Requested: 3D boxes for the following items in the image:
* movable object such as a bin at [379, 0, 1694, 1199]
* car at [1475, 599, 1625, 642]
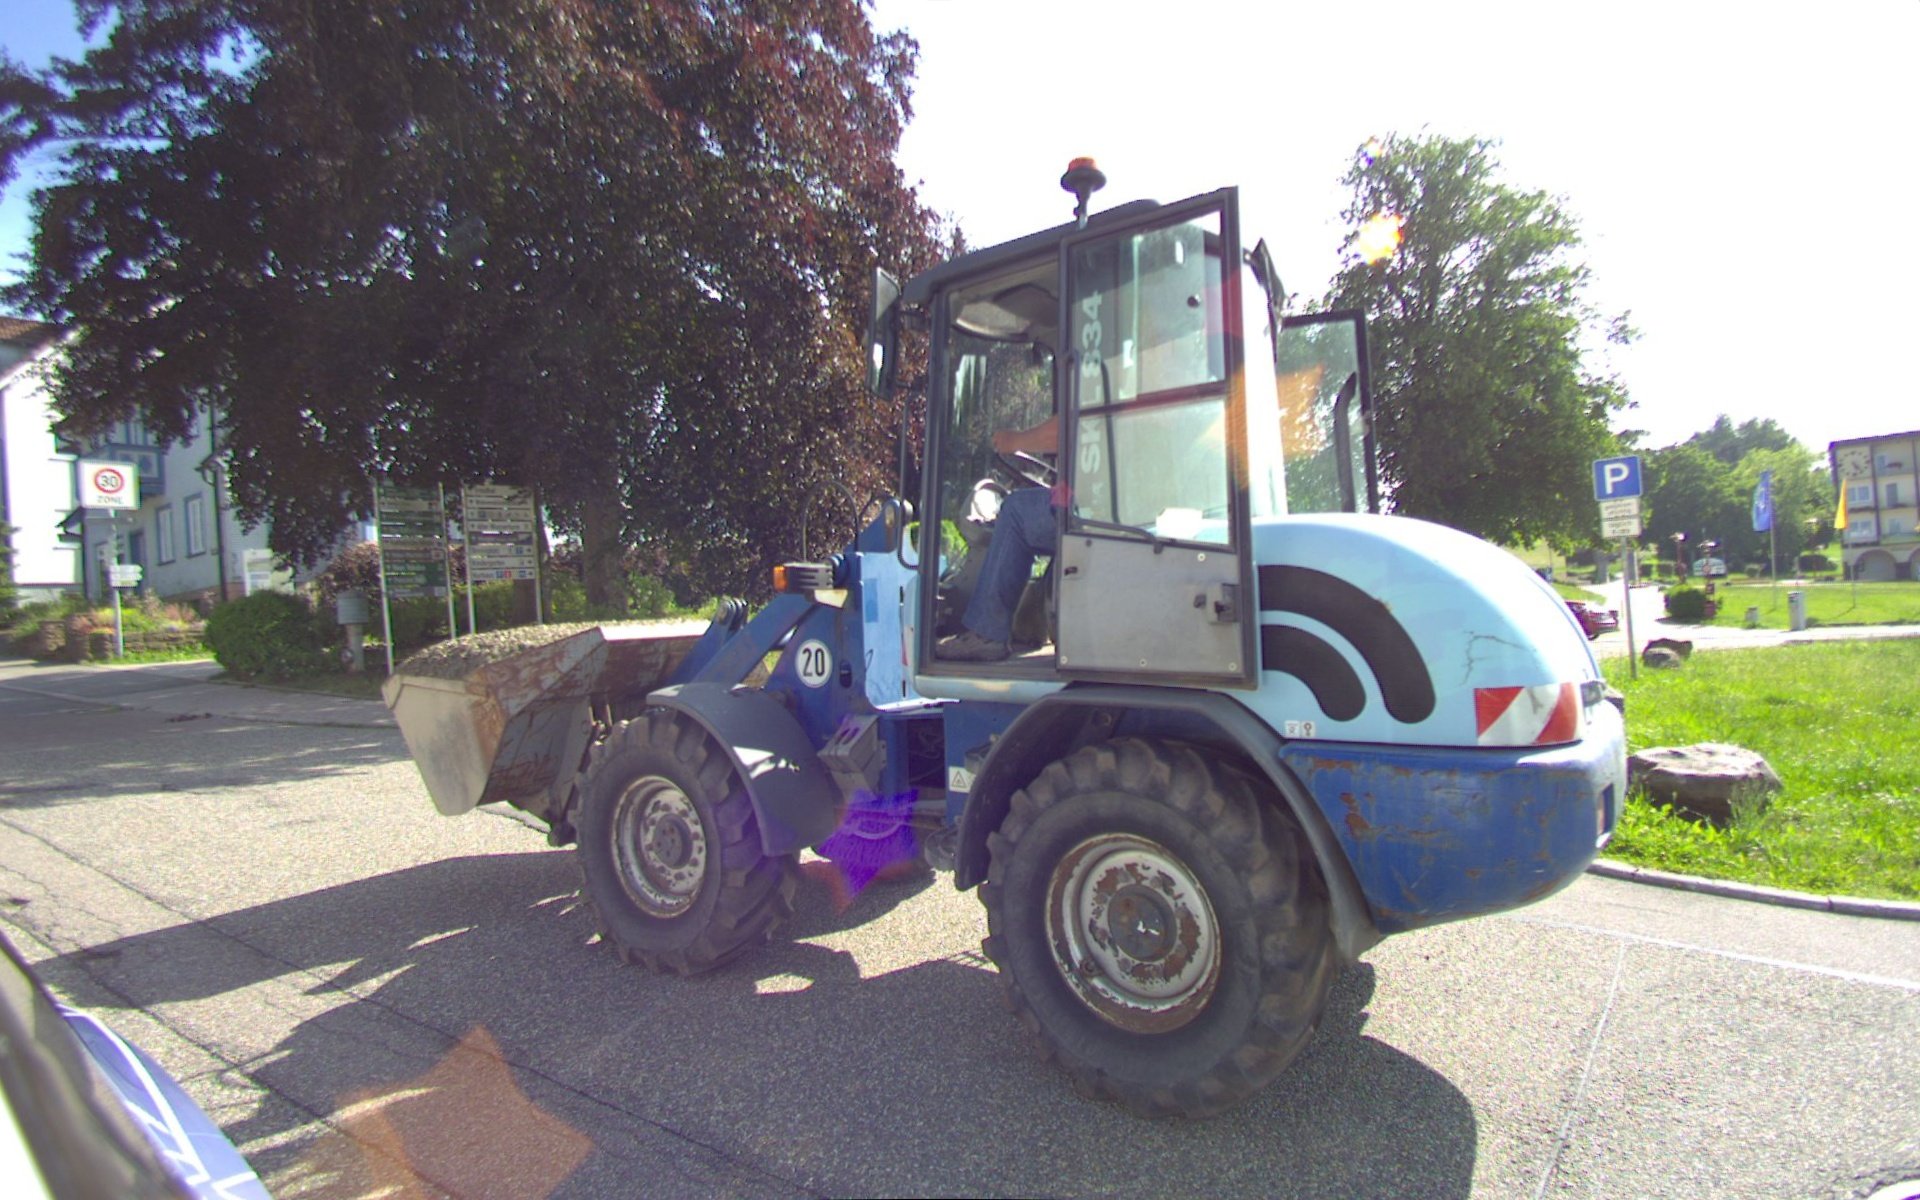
[{"bbox_3d":[-0.123,0.004,4.288,5.090,2.790,1.978,-1,0,33],"label":"movable object such as a bin"},{"bbox_3d":[20.987,0.730,36.151,1.793,1.409,4.250,-1,-1,-32],"label":"car"}]
